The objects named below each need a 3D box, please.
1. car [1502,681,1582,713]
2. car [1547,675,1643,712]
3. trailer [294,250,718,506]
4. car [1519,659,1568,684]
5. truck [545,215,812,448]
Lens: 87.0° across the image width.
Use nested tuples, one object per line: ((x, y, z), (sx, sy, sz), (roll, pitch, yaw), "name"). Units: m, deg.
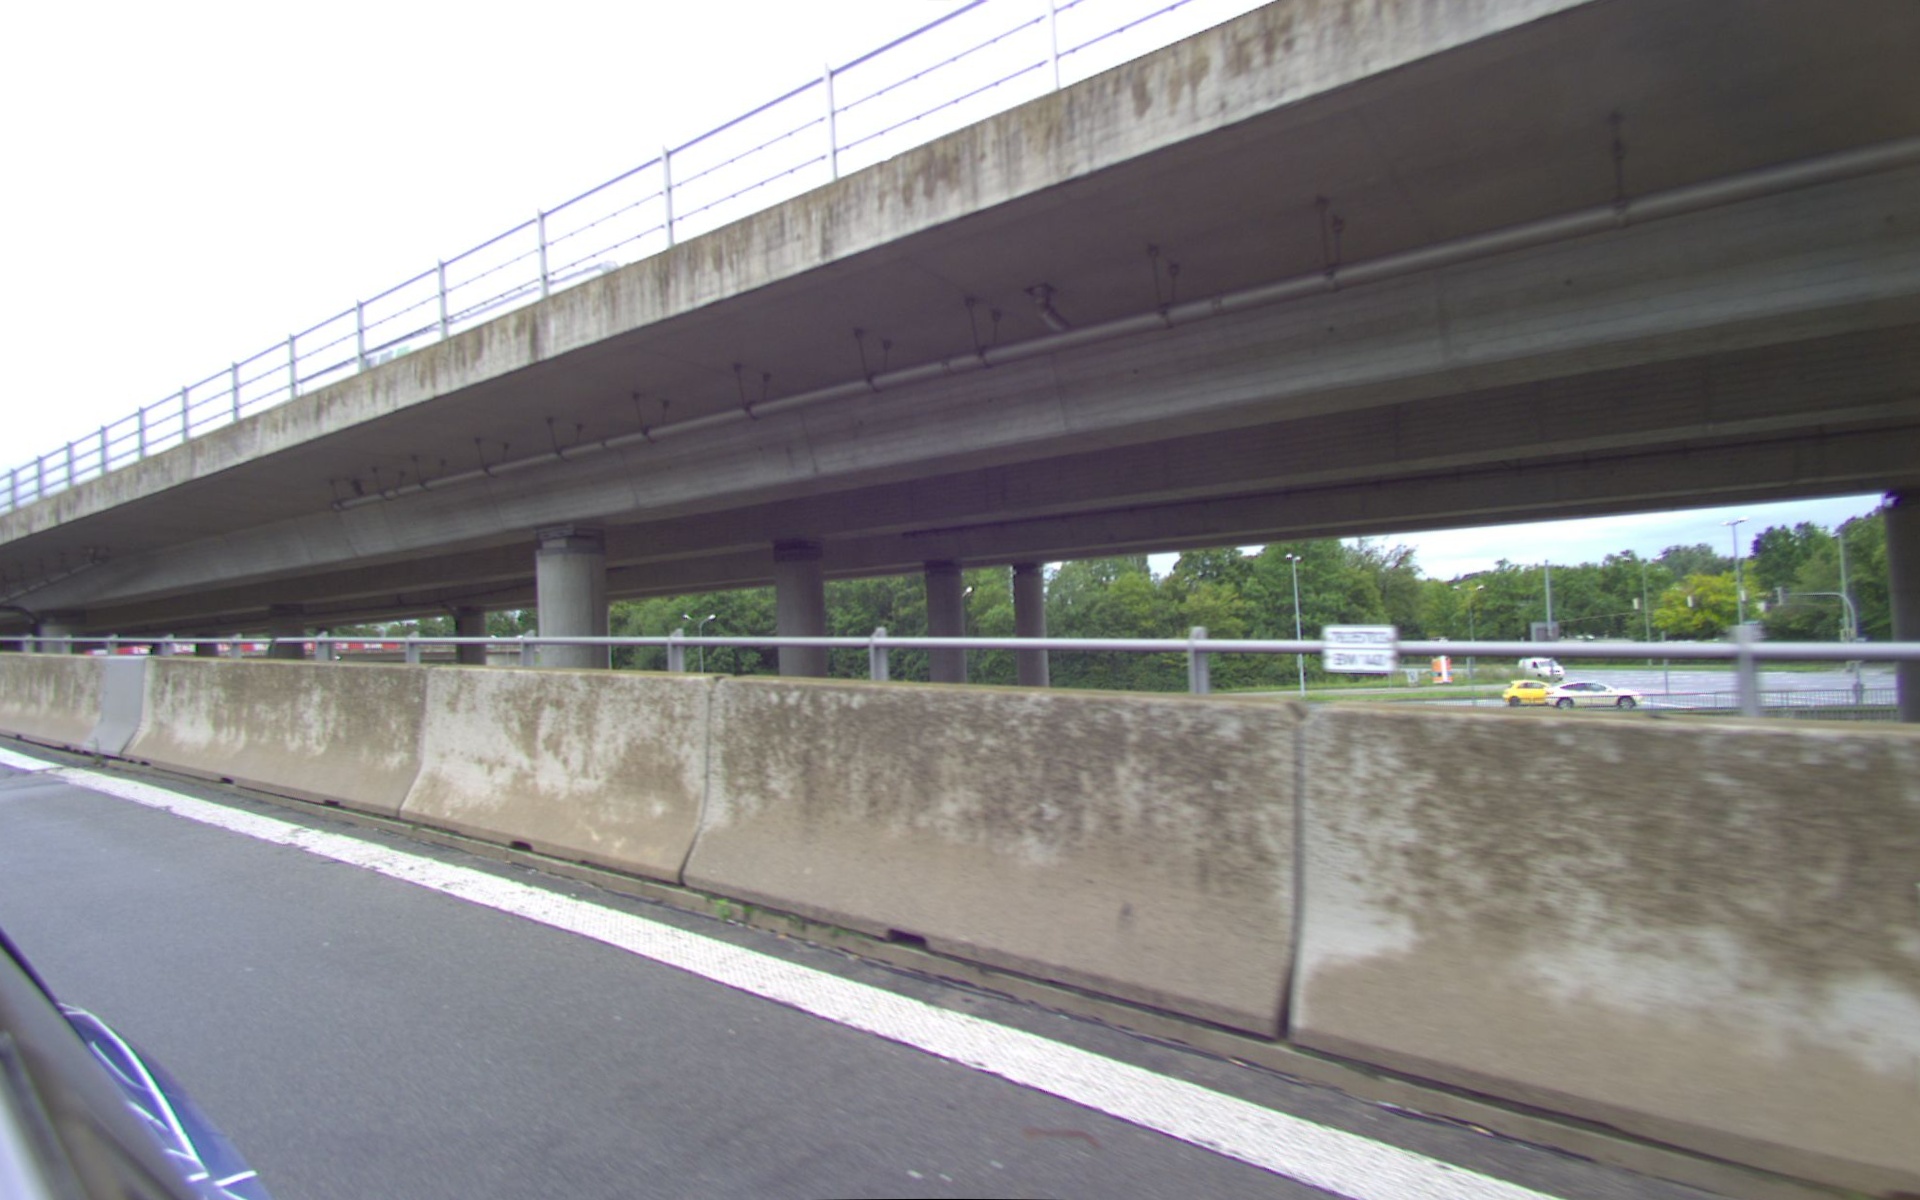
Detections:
((35.065, 5.862, 61.111), (3.980, 1.630, 1.832), (-4, 0, 28), "car")
((35.543, 5.252, 56.791), (4.344, 1.763, 1.793), (-4, 0, 28), "car")
((-12.060, -4.972, 25.560), (14.020, 3.323, 2.636), (-5, -2, 34), "trailer")
((52.357, 6.397, 90.910), (1.974, 2.029, 4.552), (-1, -1, 3), "car")
((-6.062, -5.441, 21.572), (5.180, 3.270, 2.568), (-6, -2, 33), "truck")
